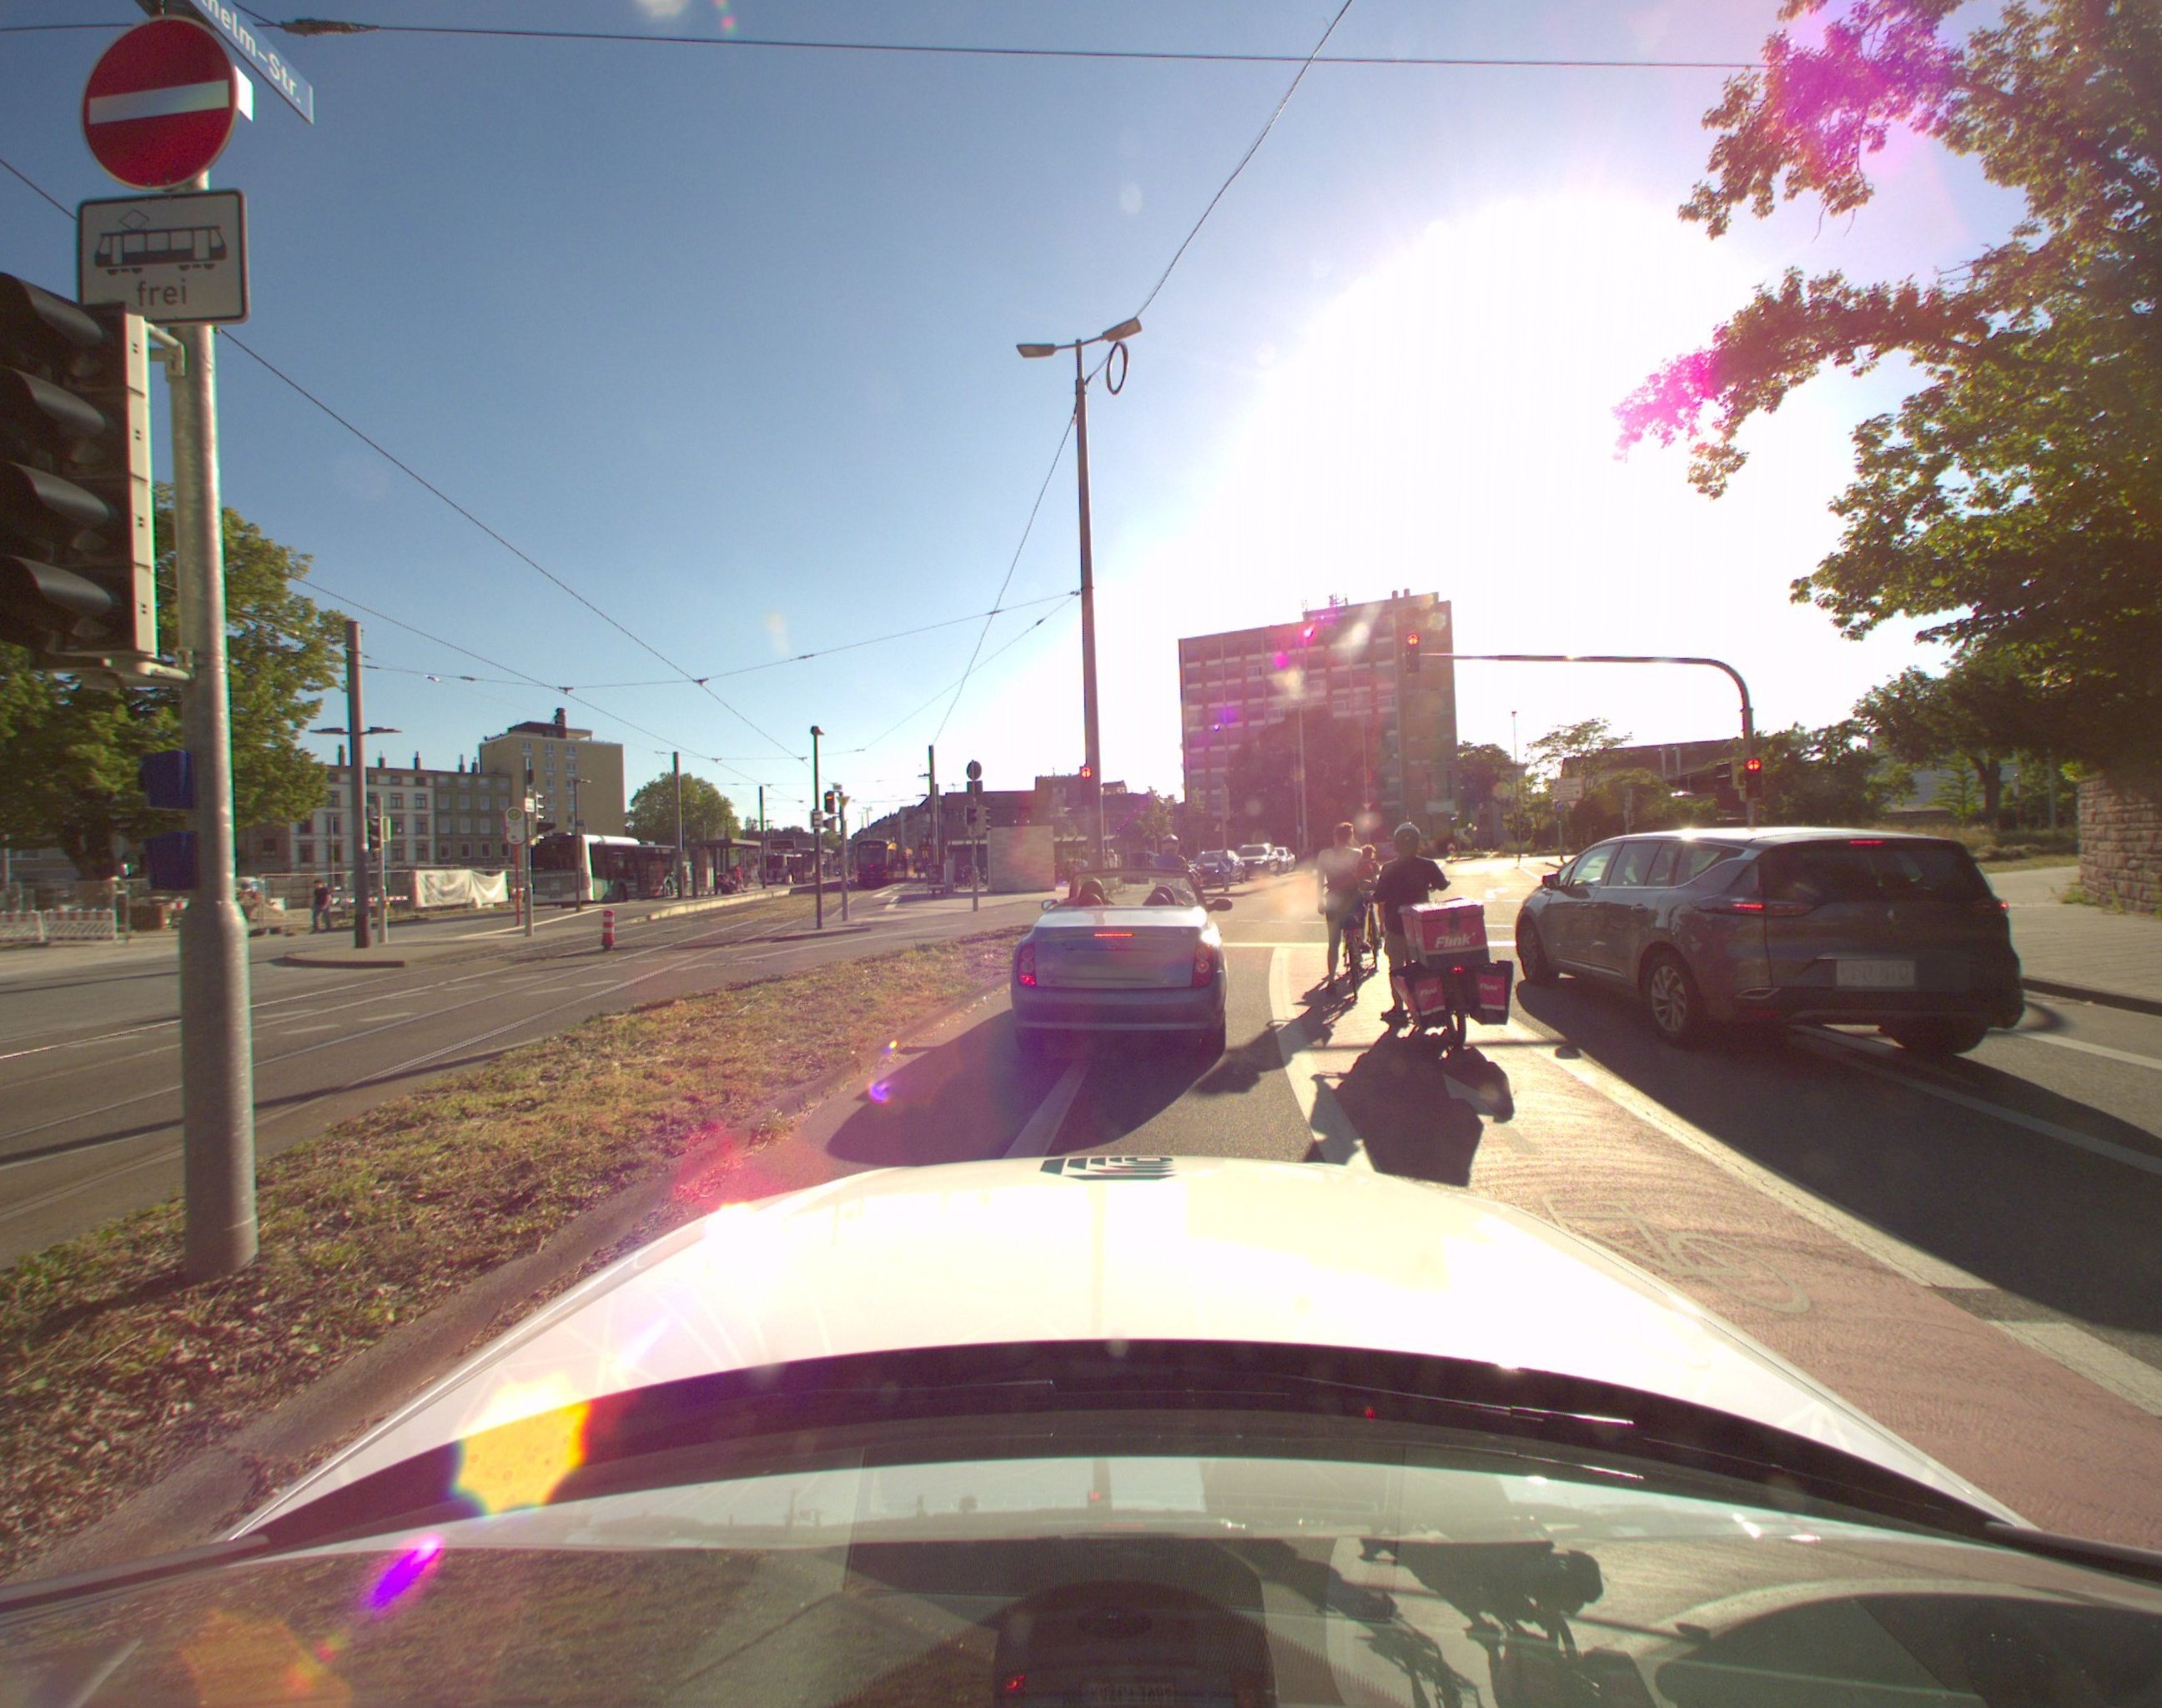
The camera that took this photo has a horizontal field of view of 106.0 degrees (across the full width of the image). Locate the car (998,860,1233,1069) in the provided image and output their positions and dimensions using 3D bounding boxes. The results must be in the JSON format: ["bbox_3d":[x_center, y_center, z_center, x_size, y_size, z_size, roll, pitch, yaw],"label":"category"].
[{"bbox_3d":[0.548,0.783,7.797,1.650,1.441,4.164,-1,-1,9],"label":"car"}]

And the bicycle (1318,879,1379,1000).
[{"bbox_3d":[2.933,0.870,9.023,0.559,1.151,1.958,-1,-1,17],"label":"bicycle"}]

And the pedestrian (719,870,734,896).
[{"bbox_3d":[-18.603,1.521,42.777,0.617,1.340,0.438,-2,-1,-15],"label":"pedestrian"}]

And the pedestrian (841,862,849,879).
[{"bbox_3d":[-23.806,1.667,82.082,0.641,1.749,0.567,-2,-1,-25],"label":"pedestrian"}]

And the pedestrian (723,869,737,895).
[{"bbox_3d":[-18.733,1.474,43.464,0.571,1.346,0.636,-2,-1,-15],"label":"pedestrian"}]

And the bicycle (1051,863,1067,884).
[{"bbox_3d":[-1.254,1.081,45.296,0.607,1.115,1.890,0,-1,-10],"label":"bicycle"}]

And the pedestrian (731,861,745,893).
[{"bbox_3d":[-19.112,1.275,45.340,0.571,1.749,0.636,-2,-1,-15],"label":"pedestrian"}]

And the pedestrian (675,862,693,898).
[{"bbox_3d":[-19.588,1.271,40.189,0.536,1.749,0.559,-2,-1,-4],"label":"pedestrian"}]

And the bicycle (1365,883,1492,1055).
[{"bbox_3d":[2.934,0.873,7.096,0.550,1.171,2.380,-1,-1,12],"label":"bicycle"}]

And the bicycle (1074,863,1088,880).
[{"bbox_3d":[-0.031,1.132,53.392,0.607,1.115,1.890,0,-1,-10],"label":"bicycle"}]

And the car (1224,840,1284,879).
[{"bbox_3d":[8.505,0.251,39.695,1.745,1.706,4.557,-4,-1,26],"label":"car"}]

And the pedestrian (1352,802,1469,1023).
[{"bbox_3d":[2.977,0.503,7.448,0.801,1.869,0.959,-1,-1,10],"label":"pedestrian"}]

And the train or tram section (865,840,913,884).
[{"bbox_3d":[-17.067,0.704,73.258,3.010,3.597,12.165,0,0,-8],"label":"train or tram section"}]

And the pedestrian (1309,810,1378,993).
[{"bbox_3d":[2.835,0.490,8.840,0.654,1.869,0.876,-1,-1,17],"label":"pedestrian"}]

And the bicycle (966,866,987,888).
[{"bbox_3d":[-5.467,1.203,42.737,0.603,1.115,1.901,-1,-1,8],"label":"bicycle"}]

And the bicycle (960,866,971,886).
[{"bbox_3d":[-6.561,1.250,46.295,0.606,1.115,1.891,0,-1,-8],"label":"bicycle"}]

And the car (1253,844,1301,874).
[{"bbox_3d":[11.165,0.251,46.218,1.678,1.560,4.004,-3,0,28],"label":"car"}]

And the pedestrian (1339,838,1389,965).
[{"bbox_3d":[3.770,0.606,10.846,0.583,1.598,1.030,-1,-1,19],"label":"pedestrian"}]

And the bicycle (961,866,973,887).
[{"bbox_3d":[-6.213,1.232,44.360,0.607,1.115,1.890,0,-1,-10],"label":"bicycle"}]

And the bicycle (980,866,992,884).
[{"bbox_3d":[-5.902,1.287,50.625,0.607,1.115,1.890,0,-1,-10],"label":"bicycle"}]

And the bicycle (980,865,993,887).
[{"bbox_3d":[-5.178,1.193,44.667,0.607,1.115,1.890,0,-1,-10],"label":"bicycle"}]

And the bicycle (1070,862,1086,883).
[{"bbox_3d":[-0.180,1.015,45.412,0.607,1.115,1.890,0,-1,-10],"label":"bicycle"}]

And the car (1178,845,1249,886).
[{"bbox_3d":[5.546,0.468,33.644,1.720,1.574,3.948,-1,-1,28],"label":"car"}]

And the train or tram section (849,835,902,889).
[{"bbox_3d":[-15.262,0.582,61.217,2.881,3.597,12.158,0,-1,-10],"label":"train or tram section"}]

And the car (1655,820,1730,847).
[{"bbox_3d":[49.641,-1.666,66.275,4.645,1.945,1.927,-3,-1,32],"label":"car"}]

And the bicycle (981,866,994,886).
[{"bbox_3d":[-5.375,1.224,46.736,0.607,1.115,1.890,0,-1,-10],"label":"bicycle"}]

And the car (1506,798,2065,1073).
[{"bbox_3d":[5.540,0.523,7.321,1.820,1.689,4.381,-1,-1,10],"label":"car"}]

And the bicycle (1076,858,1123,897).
[{"bbox_3d":[0.674,0.811,28.971,0.668,1.250,2.471,-5,-1,24],"label":"bicycle"}]

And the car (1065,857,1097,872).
[{"bbox_3d":[-0.031,1.176,88.865,1.653,1.560,3.559,-2,0,-37],"label":"car"}]

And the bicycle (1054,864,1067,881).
[{"bbox_3d":[-1.347,1.194,53.216,0.607,1.115,1.890,0,-1,-10],"label":"bicycle"}]

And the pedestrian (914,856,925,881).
[{"bbox_3d":[-11.611,1.025,58.460,0.639,1.749,0.569,-2,-1,-17],"label":"pedestrian"}]

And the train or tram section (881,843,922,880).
[{"bbox_3d":[-18.602,0.812,85.230,3.037,3.597,12.021,0,0,-7],"label":"train or tram section"}]

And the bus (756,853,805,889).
[{"bbox_3d":[-29.669,1.587,80.949,2.723,3.274,13.409,0,-1,-12],"label":"bus"}]

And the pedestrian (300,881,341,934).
[{"bbox_3d":[-25.368,1.772,27.164,0.712,1.697,0.893,-3,-2,-25],"label":"pedestrian"}]

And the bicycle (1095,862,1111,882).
[{"bbox_3d":[1.238,1.006,45.681,0.606,1.115,1.892,0,-1,-7],"label":"bicycle"}]

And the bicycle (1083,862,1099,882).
[{"bbox_3d":[0.556,1.055,47.715,0.607,1.115,1.890,0,-1,-10],"label":"bicycle"}]

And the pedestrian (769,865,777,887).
[{"bbox_3d":[-25.372,1.805,67.108,0.571,1.749,0.636,-2,-1,-17],"label":"pedestrian"}]

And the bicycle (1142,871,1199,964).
[{"bbox_3d":[1.357,0.866,11.988,0.604,1.191,2.422,-1,-1,12],"label":"bicycle"}]

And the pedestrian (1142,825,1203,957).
[{"bbox_3d":[1.369,0.527,12.058,0.828,1.869,0.923,-1,-1,10],"label":"pedestrian"}]

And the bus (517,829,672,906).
[{"bbox_3d":[-22.371,0.573,38.223,2.652,3.135,9.617,0,-1,-8],"label":"bus"}]

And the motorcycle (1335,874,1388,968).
[{"bbox_3d":[3.826,0.844,11.106,0.608,1.097,2.371,-1,-1,19],"label":"motorcycle"}]

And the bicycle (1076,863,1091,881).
[{"bbox_3d":[0.130,1.137,51.415,0.607,1.115,1.890,0,-1,-10],"label":"bicycle"}]

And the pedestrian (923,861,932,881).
[{"bbox_3d":[-13.943,1.551,73.813,0.639,1.749,0.732,-2,-1,-17],"label":"pedestrian"}]

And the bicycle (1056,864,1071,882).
[{"bbox_3d":[-1.105,1.162,51.241,0.607,1.115,1.890,0,-1,-10],"label":"bicycle"}]

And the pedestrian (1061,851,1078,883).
[{"bbox_3d":[-0.655,0.741,46.949,0.901,1.869,0.684,0,-1,-11],"label":"pedestrian"}]

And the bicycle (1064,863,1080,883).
[{"bbox_3d":[-0.543,1.092,47.353,0.607,1.115,1.890,0,-1,-10],"label":"bicycle"}]

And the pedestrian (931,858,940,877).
[{"bbox_3d":[-13.286,1.218,74.305,0.639,1.749,0.732,-2,-1,-17],"label":"pedestrian"}]

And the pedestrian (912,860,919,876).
[{"bbox_3d":[-18.352,1.541,90.505,0.604,1.749,0.830,-2,-1,-6],"label":"pedestrian"}]

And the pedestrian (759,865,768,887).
[{"bbox_3d":[-26.607,1.851,68.251,0.641,1.749,0.567,-2,-1,-25],"label":"pedestrian"}]

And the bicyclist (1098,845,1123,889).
[{"bbox_3d":[1.146,0.490,31.603,0.702,1.657,0.747,-3,-1,24],"label":"bicyclist"}]

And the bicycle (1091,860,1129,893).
[{"bbox_3d":[1.153,0.847,31.574,0.668,1.180,2.195,-3,0,24],"label":"bicycle"}]

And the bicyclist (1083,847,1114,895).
[{"bbox_3d":[0.627,0.595,28.905,0.702,1.657,0.906,-5,-2,24],"label":"bicyclist"}]
